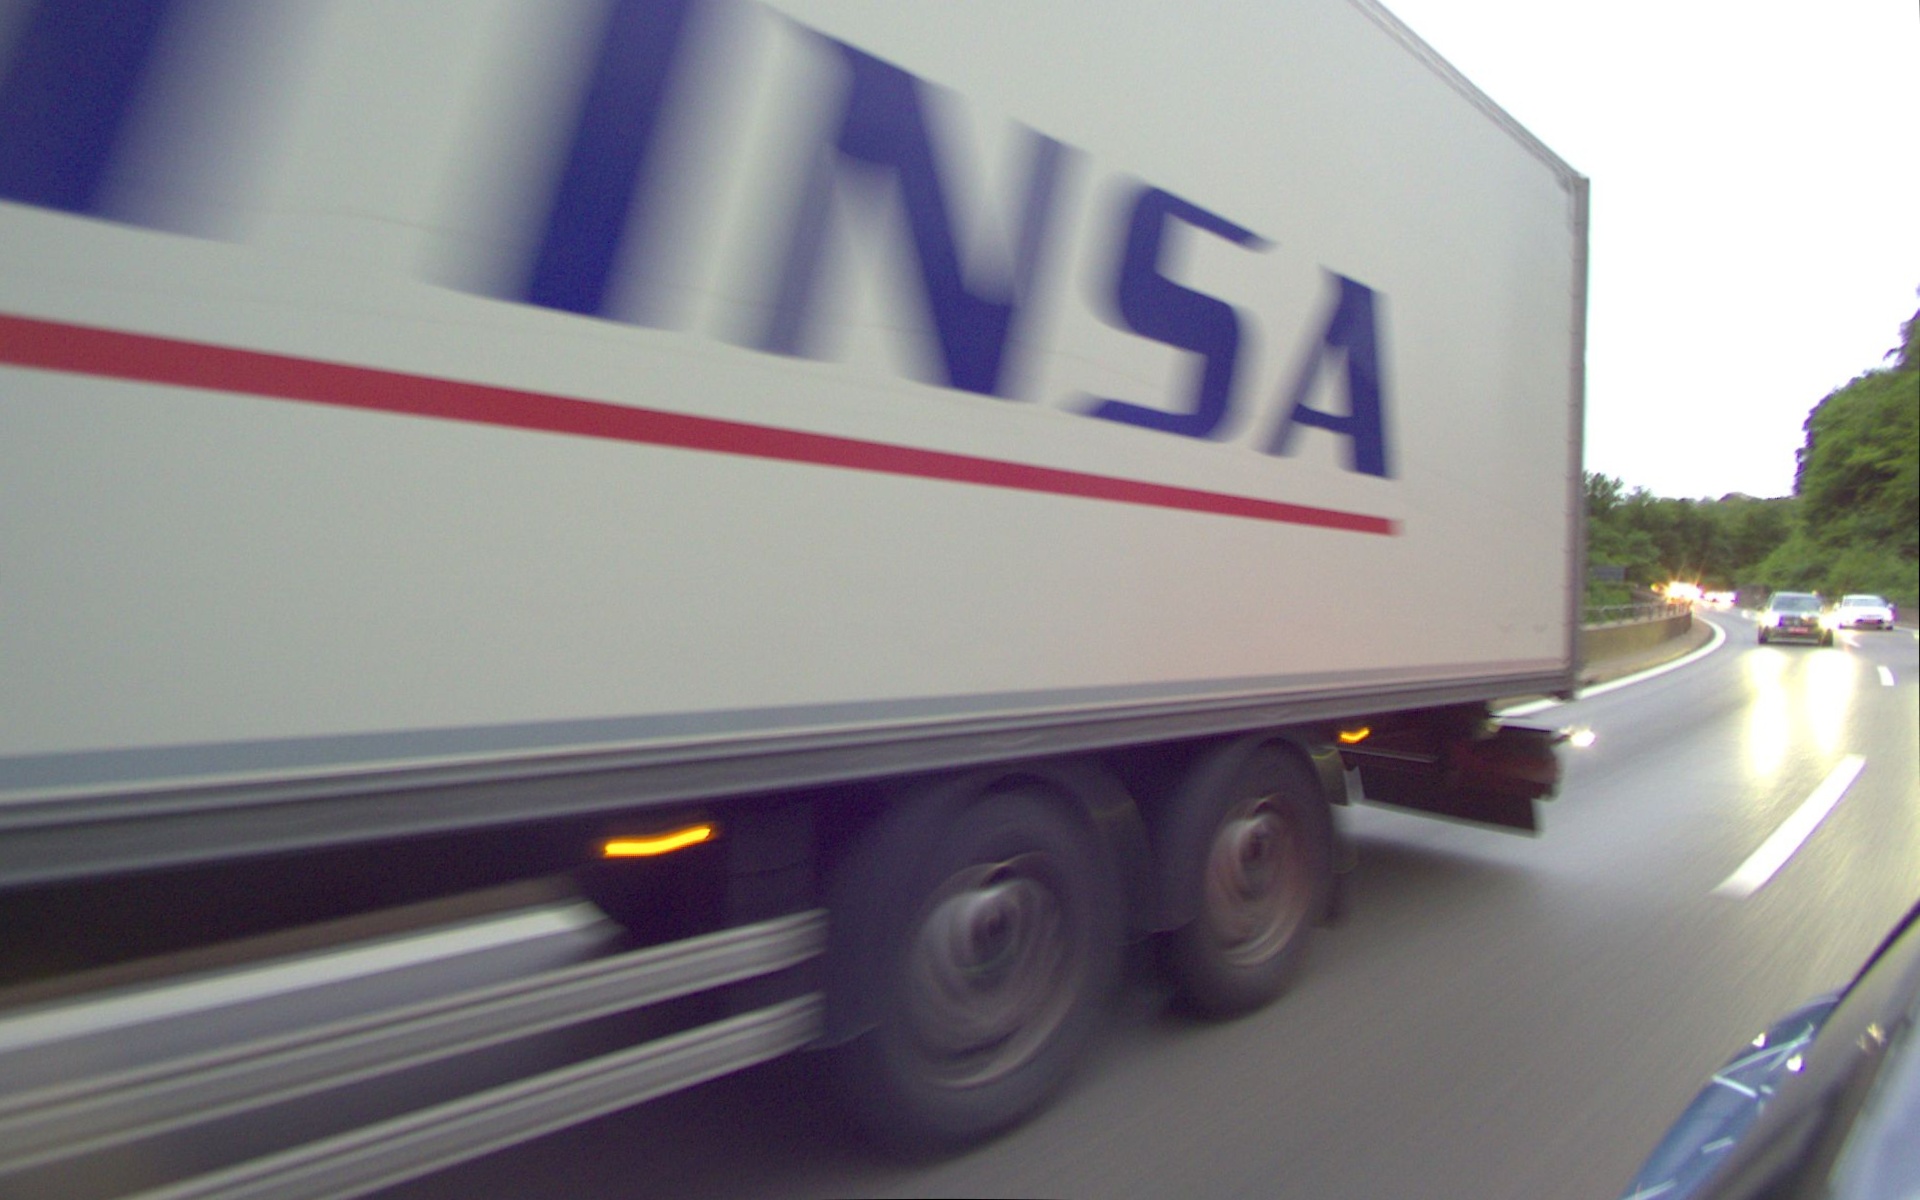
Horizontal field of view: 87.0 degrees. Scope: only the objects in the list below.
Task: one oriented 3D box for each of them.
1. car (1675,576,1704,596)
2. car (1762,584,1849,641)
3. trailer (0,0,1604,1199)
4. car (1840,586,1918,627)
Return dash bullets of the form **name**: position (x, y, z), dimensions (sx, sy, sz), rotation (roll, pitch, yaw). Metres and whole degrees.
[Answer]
- **car**: position (68.633, -1.280, 95.253), dimensions (1.989, 1.637, 3.949), rotation (7, 5, 35)
- **car**: position (27.073, 0.358, 32.505), dimensions (1.990, 1.660, 3.945), rotation (1, 1, 38)
- **trailer**: position (-2.785, -0.563, 1.977), dimensions (13.972, 4.019, 3.102), rotation (0, 2, -42)
- **car**: position (40.284, 0.226, 44.451), dimensions (1.989, 1.526, 3.949), rotation (6, 4, 36)
